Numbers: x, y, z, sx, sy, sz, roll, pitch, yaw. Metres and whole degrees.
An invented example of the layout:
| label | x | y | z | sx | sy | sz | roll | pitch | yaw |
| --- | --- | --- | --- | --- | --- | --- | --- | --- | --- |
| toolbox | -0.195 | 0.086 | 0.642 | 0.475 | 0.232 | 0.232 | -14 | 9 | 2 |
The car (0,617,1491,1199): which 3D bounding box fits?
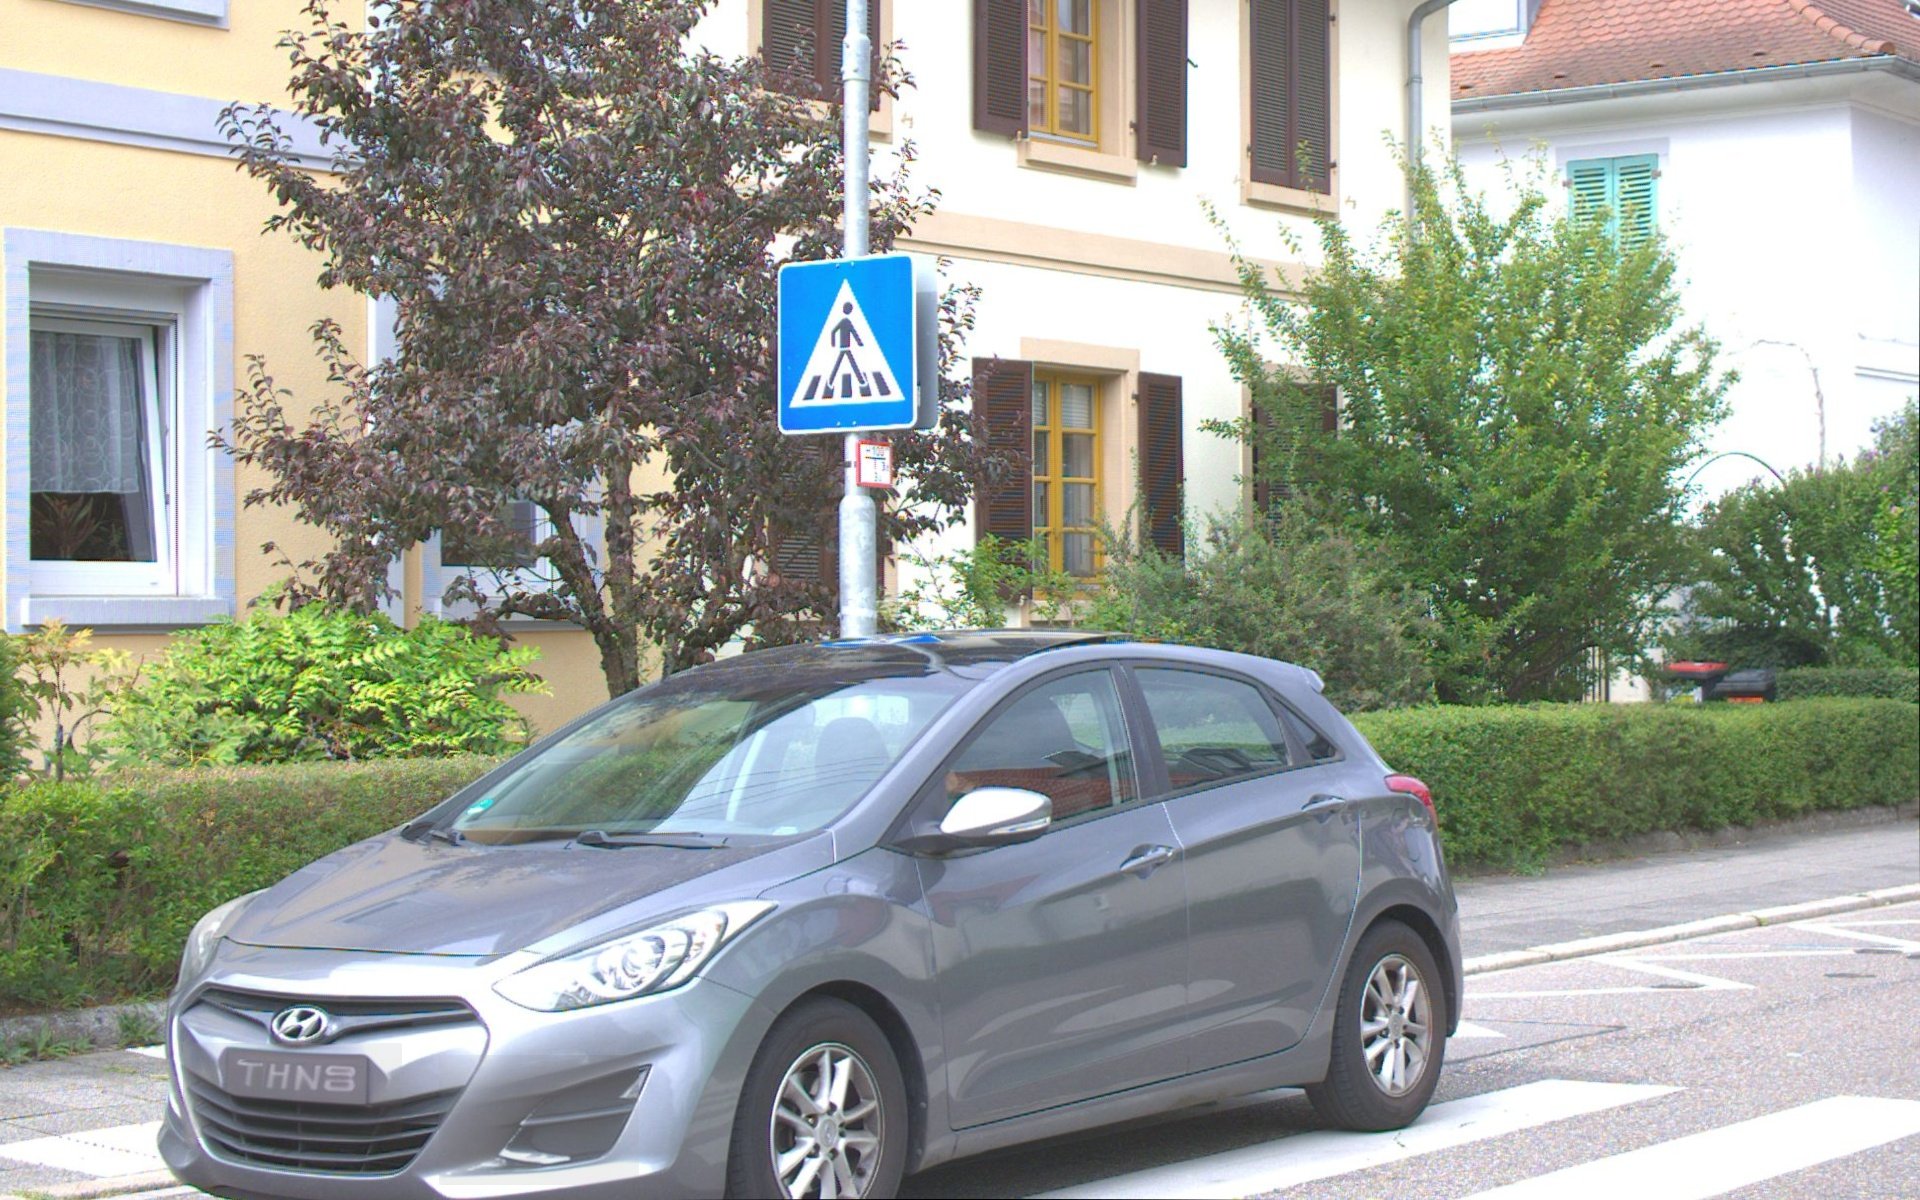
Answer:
| label | x | y | z | sx | sy | sz | roll | pitch | yaw |
| --- | --- | --- | --- | --- | --- | --- | --- | --- | --- |
| car | -0.363 | 0.798 | 9.319 | 1.852 | 1.476 | 4.033 | -1 | 0 | 37 |
